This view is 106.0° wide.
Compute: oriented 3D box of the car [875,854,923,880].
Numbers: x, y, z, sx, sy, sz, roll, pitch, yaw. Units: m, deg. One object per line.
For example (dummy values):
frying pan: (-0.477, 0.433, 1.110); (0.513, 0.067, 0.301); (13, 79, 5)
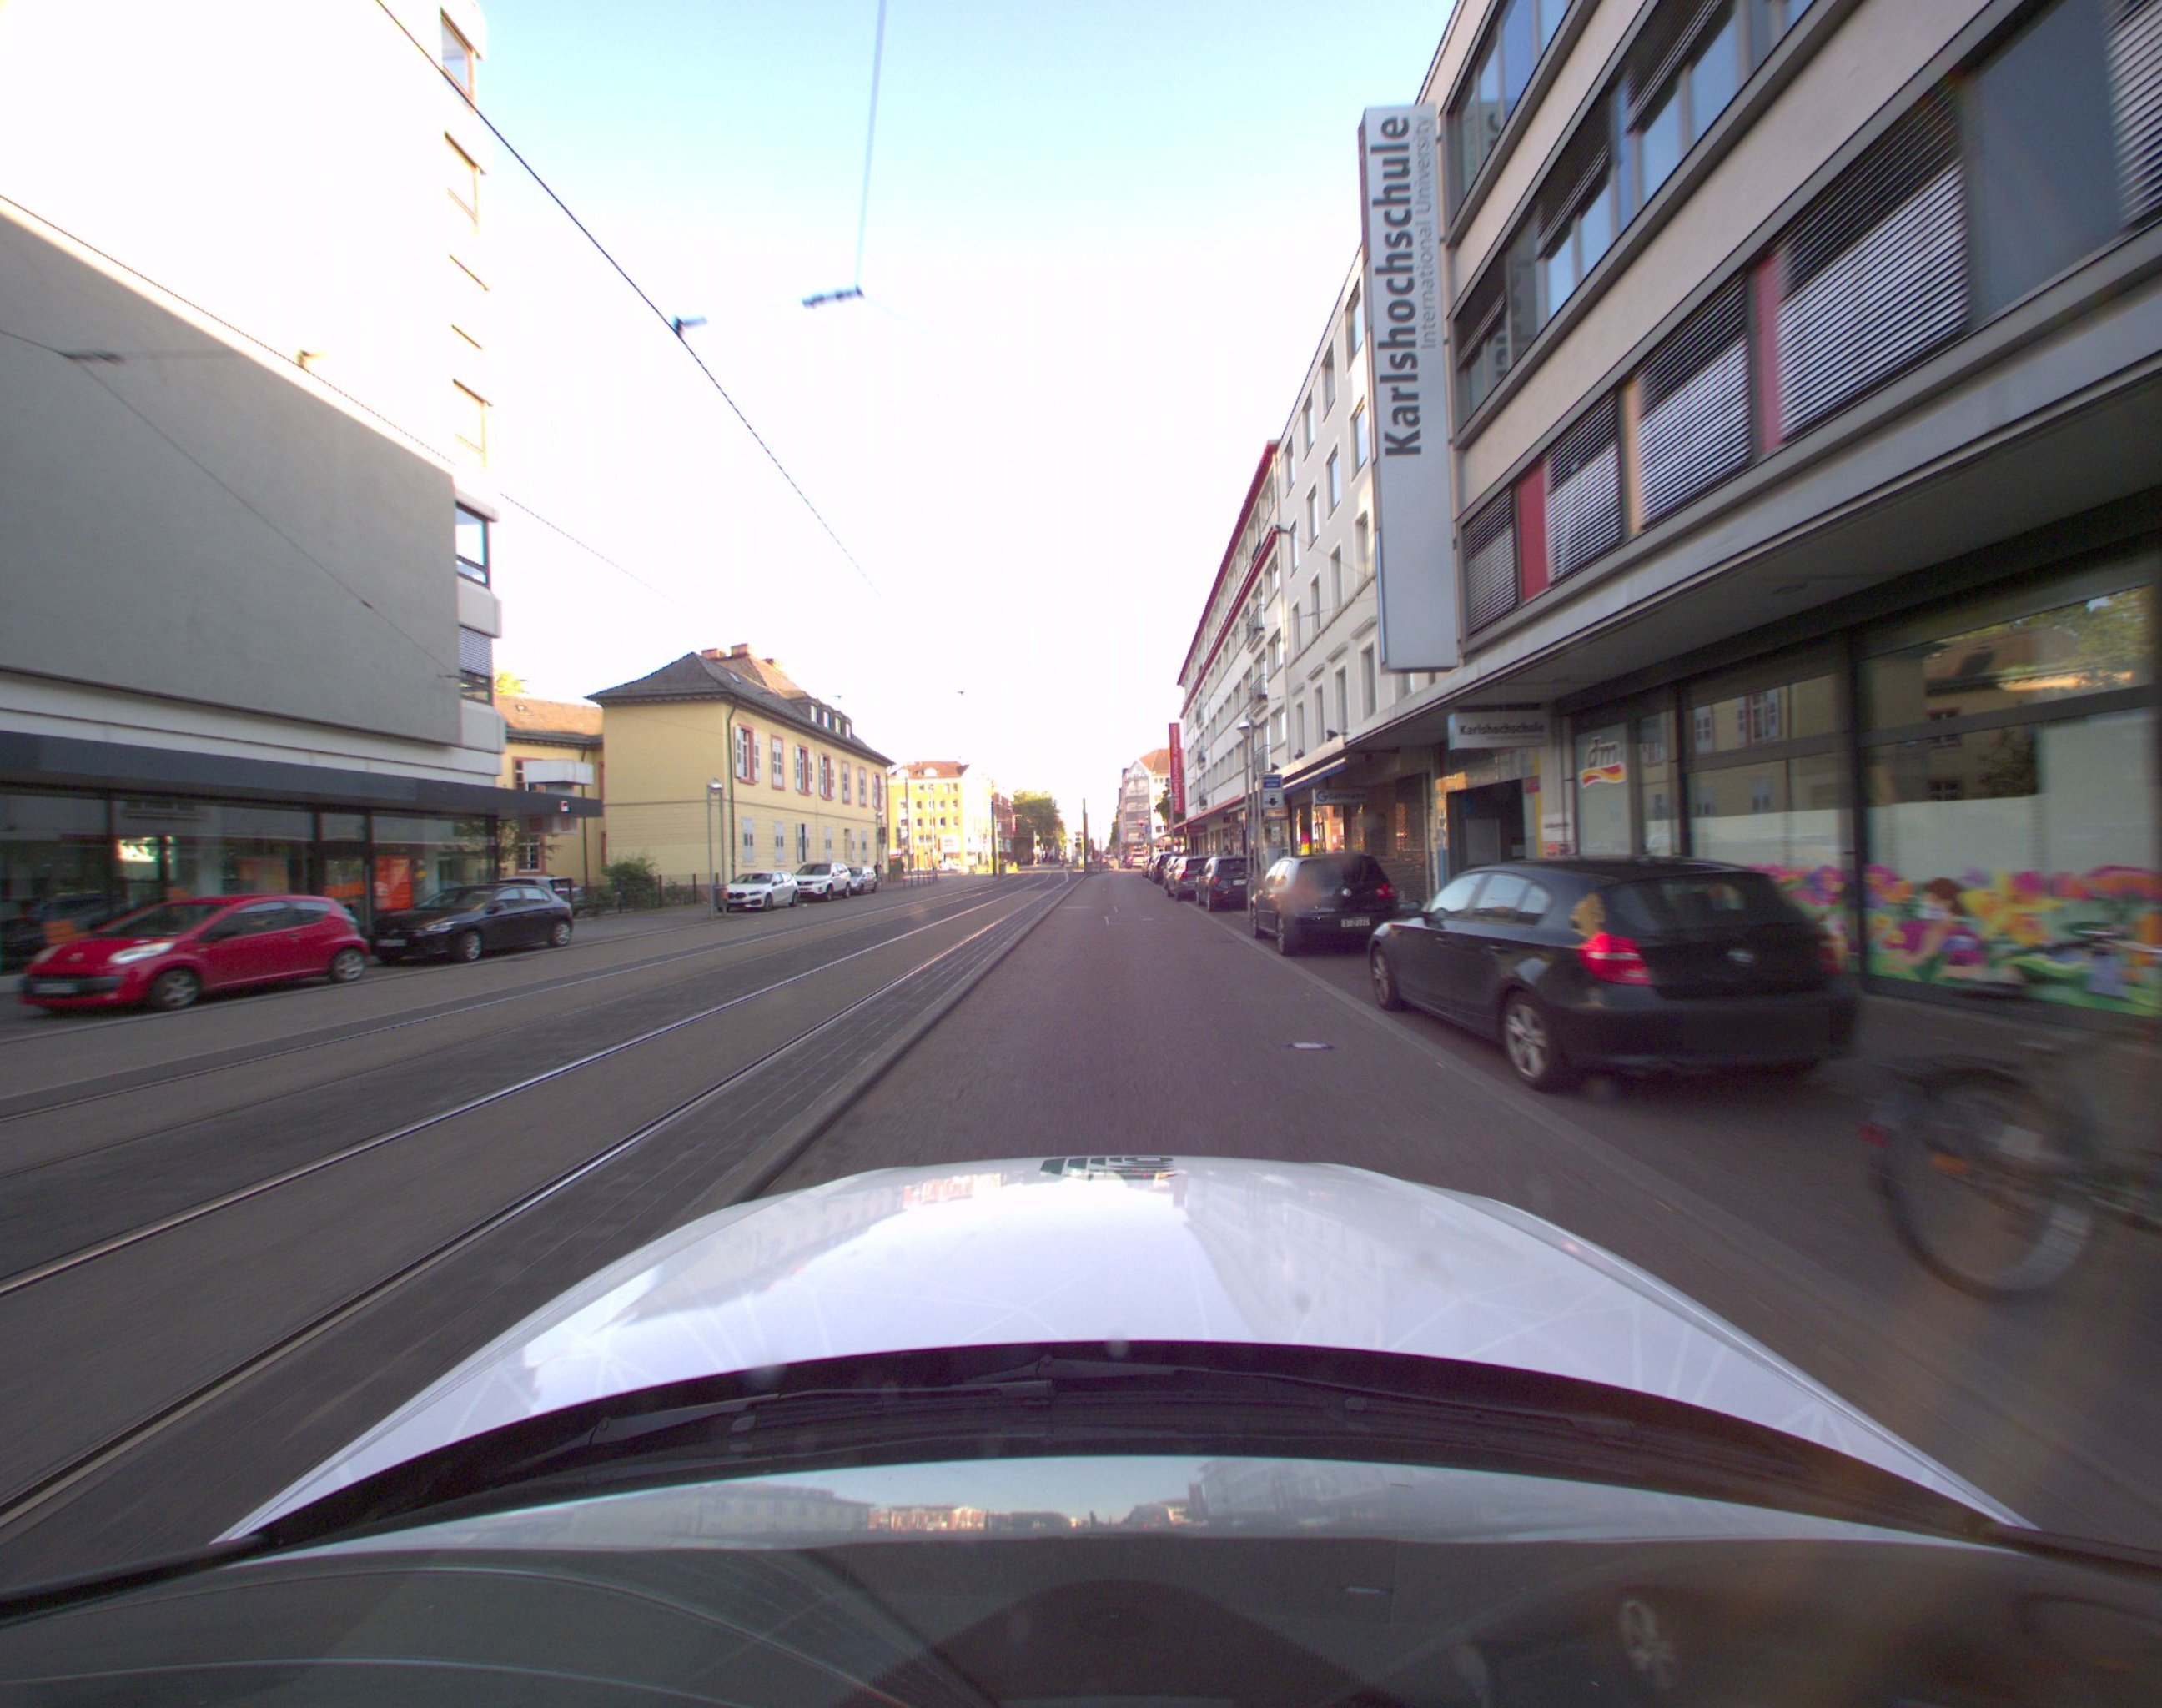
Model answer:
car: (-15.853, 1.122, 70.928); (3.994, 2.013, 1.990); (-2, 0, -15)

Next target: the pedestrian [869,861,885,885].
pedestrian: (-13.588, 1.263, 54.354); (0.796, 1.542, 0.878); (0, -1, 4)

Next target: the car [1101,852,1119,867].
car: (3.472, 0.696, 98.316); (1.986, 1.596, 4.001); (-6, -2, 2)

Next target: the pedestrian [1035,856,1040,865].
pedestrian: (-8.406, 1.292, 158.041); (0.801, 1.664, 0.704); (0, -1, 6)

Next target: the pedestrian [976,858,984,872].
pedestrian: (-10.384, 1.155, 83.576); (0.662, 1.375, 0.651); (-2, 0, -1)

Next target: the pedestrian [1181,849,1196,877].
pedestrian: (6.163, 0.536, 46.760); (0.730, 1.574, 0.967); (-2, 0, 1)

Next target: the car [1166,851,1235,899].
car: (4.071, 0.694, 28.464); (1.785, 1.533, 4.857); (0, -1, 1)

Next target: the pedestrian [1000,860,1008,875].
pedestrian: (-7.197, 1.267, 76.316); (0.662, 1.375, 0.651); (0, -1, -1)

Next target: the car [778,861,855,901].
car: (-11.784, 1.150, 36.593); (1.880, 1.661, 4.760); (0, 0, 0)

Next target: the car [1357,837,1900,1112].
car: (3.608, 0.667, 6.377); (1.648, 1.463, 4.024); (0, -1, 2)

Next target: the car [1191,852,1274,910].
car: (4.137, 0.715, 22.831); (1.719, 1.481, 4.002); (0, -1, 2)

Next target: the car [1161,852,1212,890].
car: (4.472, 0.684, 35.025); (1.774, 1.522, 4.359); (0, 0, 2)

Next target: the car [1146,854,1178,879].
car: (4.897, 0.745, 49.576); (1.645, 1.421, 4.193); (0, -1, 2)

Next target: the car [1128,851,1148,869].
car: (5.696, 0.602, 81.910); (1.828, 1.636, 4.093); (-3, -2, 3)

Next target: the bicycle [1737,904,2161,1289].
bicycle: (3.560, 0.792, 2.949); (1.834, 1.109, 0.642); (-3, -1, -2)

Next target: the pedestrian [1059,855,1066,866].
pedestrian: (-2.406, 0.847, 106.484); (0.900, 1.375, 0.853); (-2, 0, -1)

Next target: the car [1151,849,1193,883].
car: (4.767, 0.634, 43.369); (1.849, 1.701, 4.419); (0, -1, 1)

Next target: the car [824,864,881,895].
car: (-11.823, 1.288, 42.457); (1.742, 1.474, 4.001); (0, 0, 1)

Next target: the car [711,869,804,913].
car: (-12.059, 1.340, 30.649); (1.714, 1.453, 4.284); (0, 0, 1)

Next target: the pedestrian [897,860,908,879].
pedestrian: (-14.947, 1.295, 68.364); (0.717, 1.536, 0.718); (-2, -1, -3)

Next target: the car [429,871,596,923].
car: (-18.237, 1.354, 26.259); (3.975, 1.553, 1.913); (0, -1, -1)

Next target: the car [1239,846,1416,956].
car: (3.784, 0.669, 13.241); (1.758, 1.513, 4.073); (0, -1, 2)

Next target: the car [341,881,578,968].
car: (-12.407, 1.326, 16.625); (1.685, 1.425, 3.967); (0, 0, 2)

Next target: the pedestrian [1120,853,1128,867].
pedestrian: (5.480, 0.794, 103.772); (0.870, 1.706, 0.701); (0, -1, 4)

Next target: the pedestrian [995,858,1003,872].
pedestrian: (-8.457, 1.163, 83.942); (0.662, 1.375, 0.651); (-2, 0, -1)

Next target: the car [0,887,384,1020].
car: (-12.520, 1.295, 11.779); (1.685, 1.434, 3.593); (-2, 0, 2)

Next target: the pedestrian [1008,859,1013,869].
pedestrian: (-14.622, 2.035, 168.966); (1.090, 2.014, 1.162); (0, -1, -1)

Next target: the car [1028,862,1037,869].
car: (-12.999, 3.120, 218.209); (1.948, 2.014, 4.001); (0, -1, 2)

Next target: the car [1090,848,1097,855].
car: (3.830, -0.709, 245.944); (1.985, 1.901, 4.003); (0, -1, 3)

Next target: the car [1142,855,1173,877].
car: (5.101, 0.794, 54.706); (1.783, 1.413, 4.688); (0, -1, 1)

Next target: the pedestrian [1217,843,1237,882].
pedestrian: (7.254, 0.402, 40.436); (0.772, 1.880, 0.934); (-2, -1, 0)

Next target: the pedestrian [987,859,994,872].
pedestrian: (-9.280, 1.178, 83.647); (0.662, 1.375, 0.651); (-1, 0, -1)
